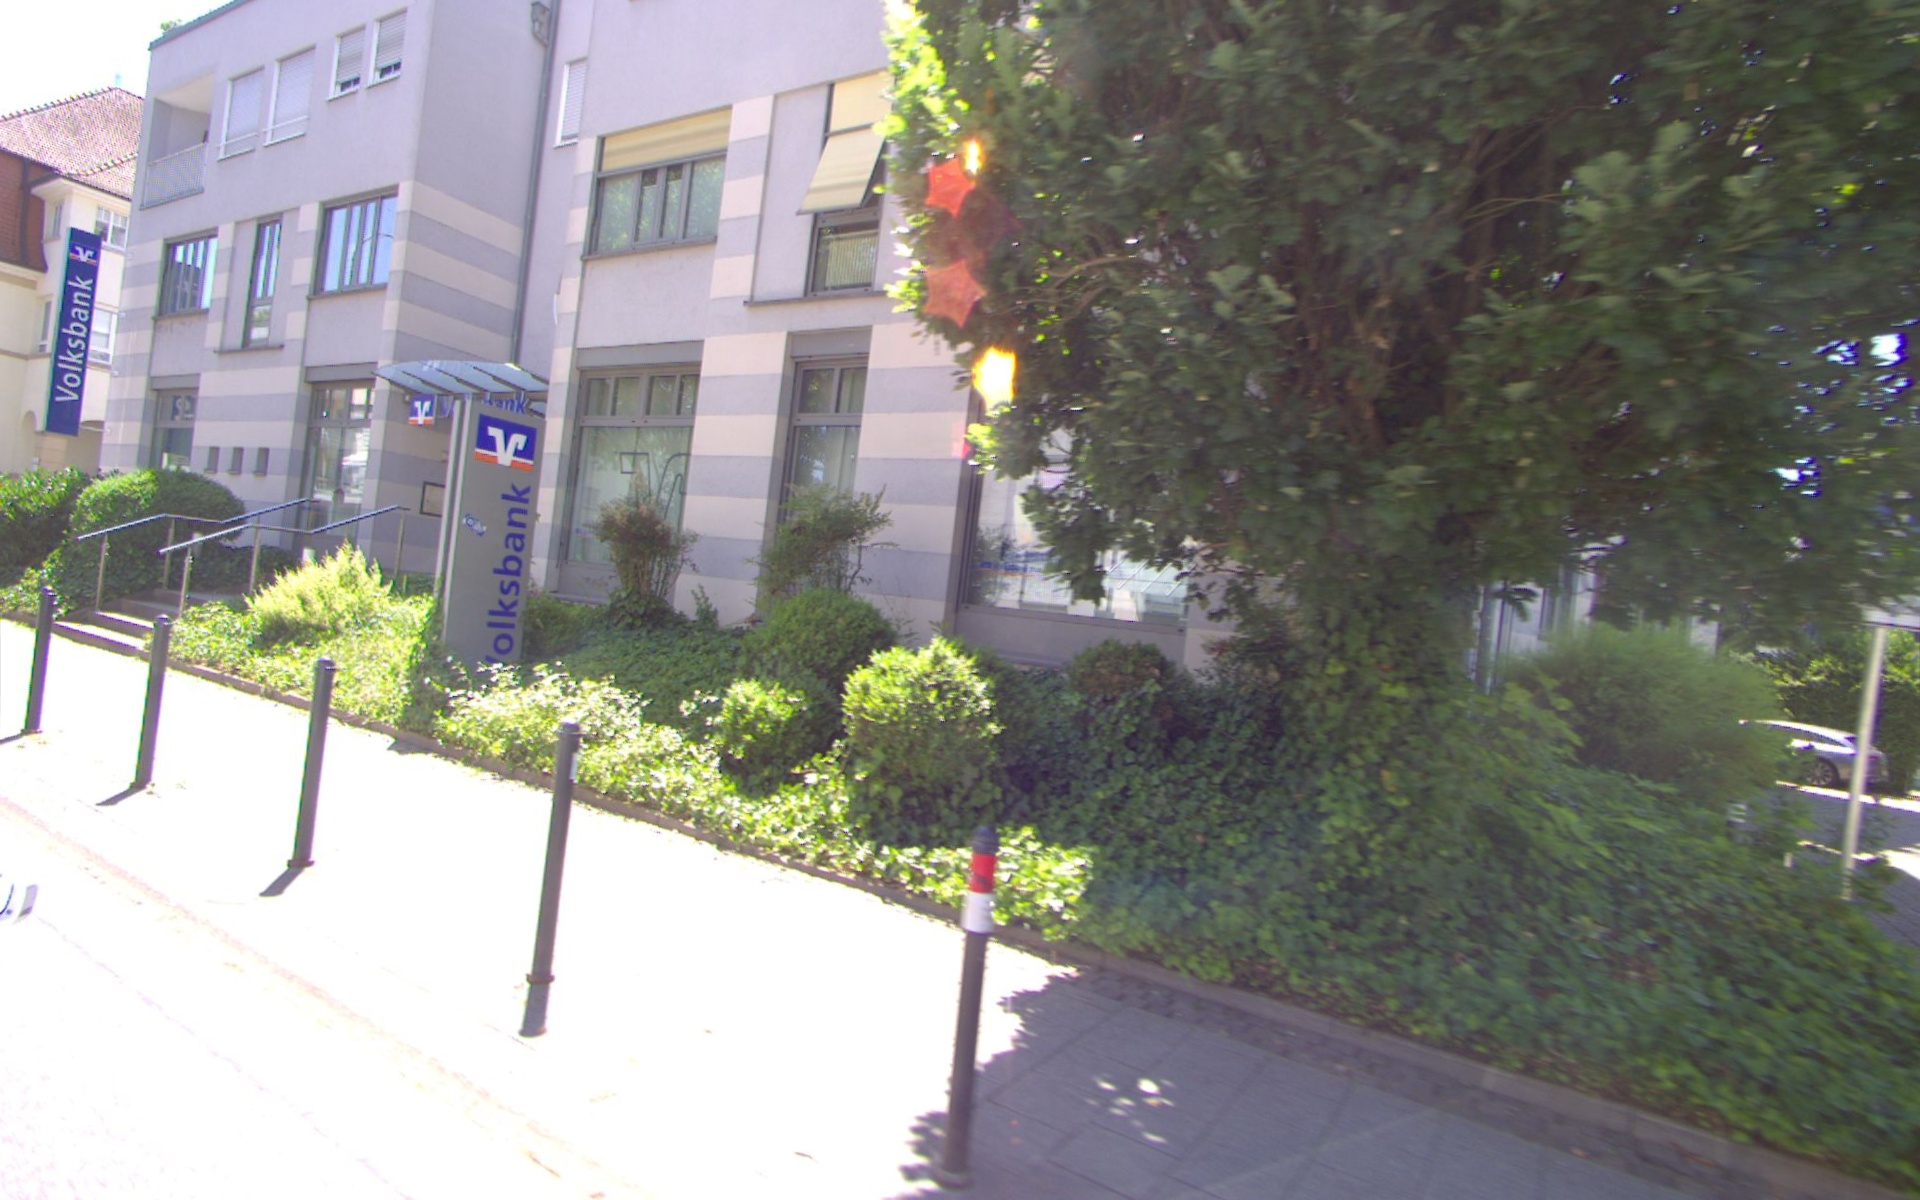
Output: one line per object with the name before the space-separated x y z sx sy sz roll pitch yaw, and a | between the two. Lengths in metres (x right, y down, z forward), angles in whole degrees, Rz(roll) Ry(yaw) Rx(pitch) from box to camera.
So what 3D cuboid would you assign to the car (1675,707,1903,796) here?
car | 20.288 3.686 24.758 1.898 1.446 3.959 10 -4 -38
